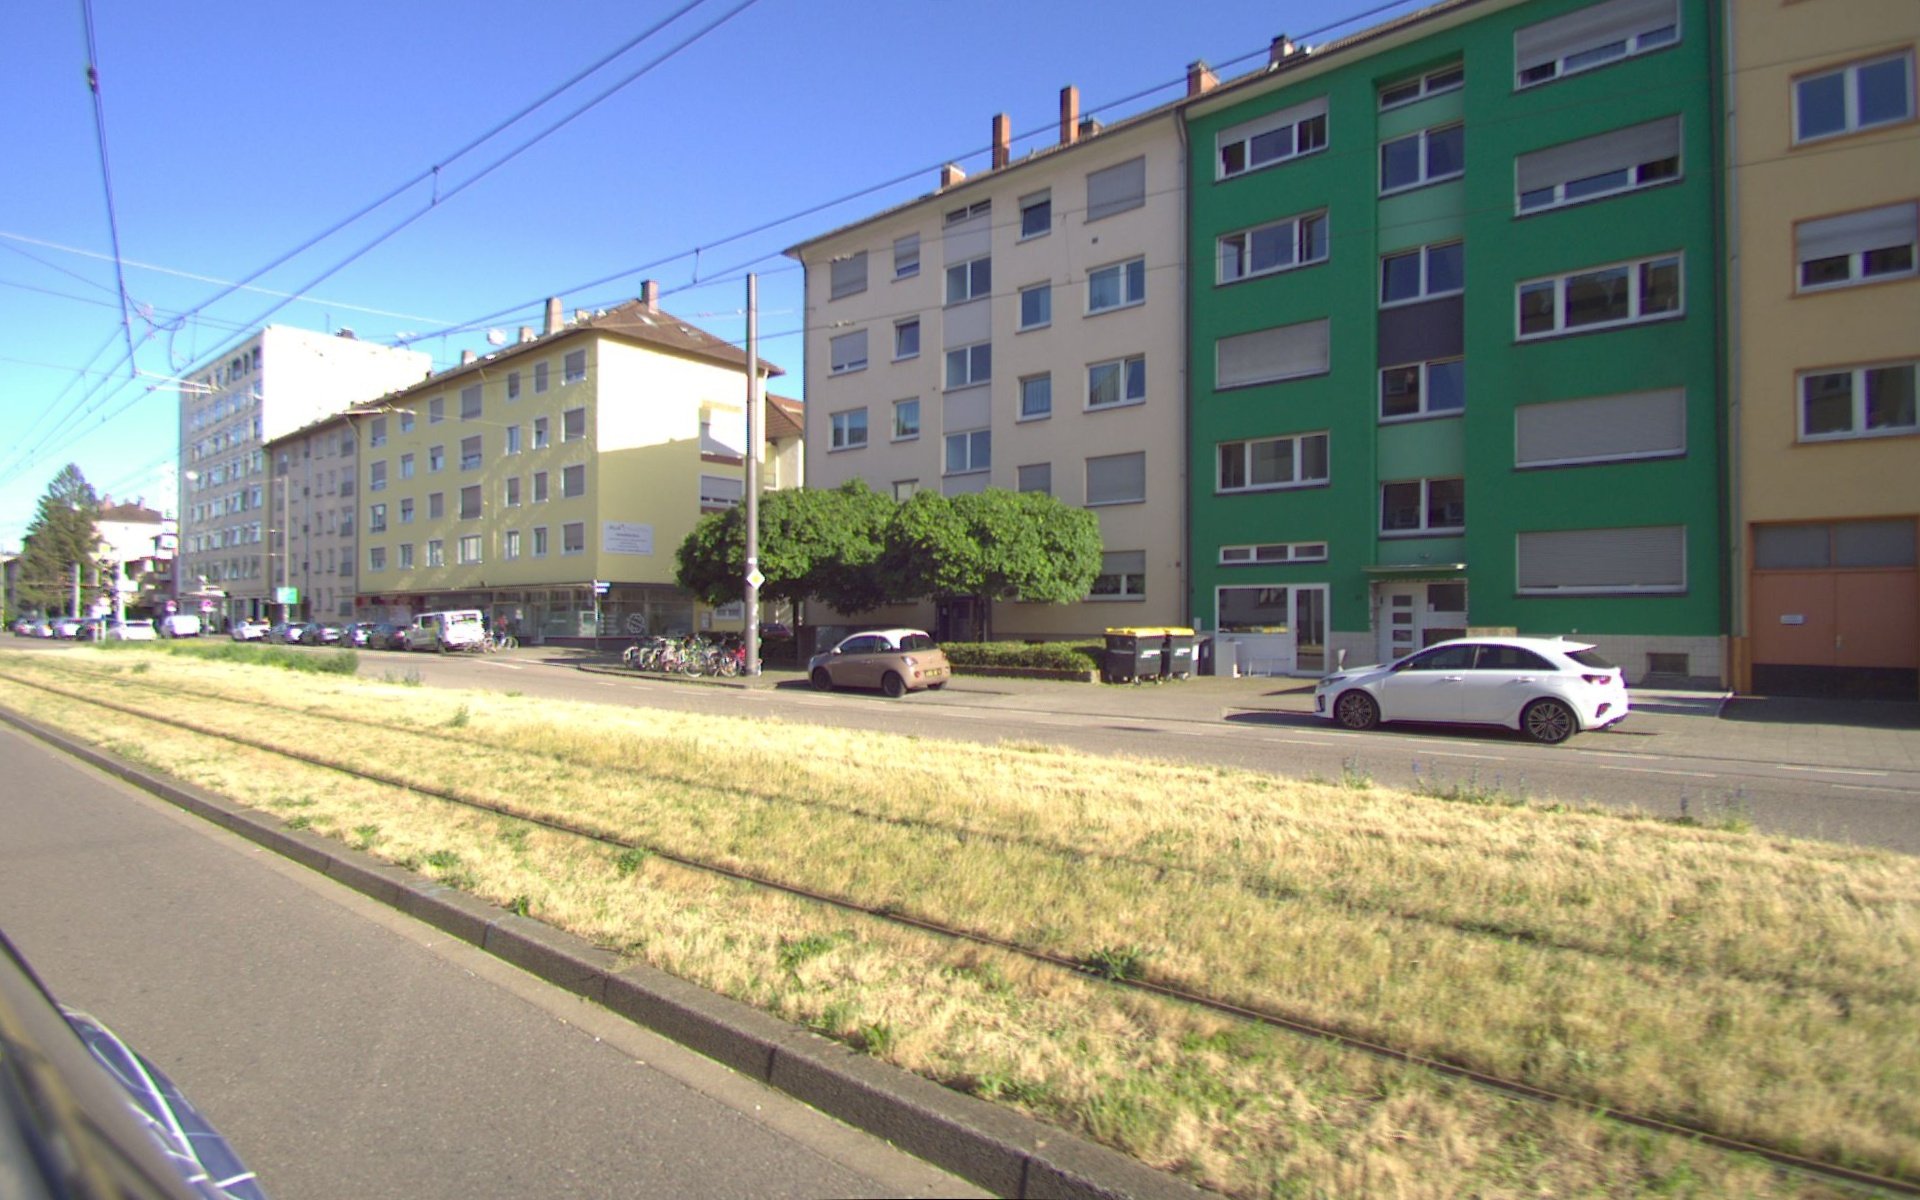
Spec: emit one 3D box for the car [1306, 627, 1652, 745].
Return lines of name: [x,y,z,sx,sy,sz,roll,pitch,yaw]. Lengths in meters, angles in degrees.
car: [7.712,1.177,15.300,4.373,1.465,1.711,-1,0,41]

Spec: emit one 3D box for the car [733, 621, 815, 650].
car: [-9.464,1.838,51.718,1.770,1.424,3.948,-1,-3,38]

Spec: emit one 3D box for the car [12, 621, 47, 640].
car: [-78.395,2.558,85.264,3.997,1.571,1.597,-1,-4,40]

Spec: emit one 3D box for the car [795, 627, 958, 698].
car: [-2.007,1.411,23.849,3.729,1.453,1.620,-1,1,39]

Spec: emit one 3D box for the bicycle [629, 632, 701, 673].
bicycle: [-8.958,1.570,30.754,2.024,1.101,0.616,-2,1,-44]

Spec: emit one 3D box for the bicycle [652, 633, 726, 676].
bicycle: [-7.942,1.570,29.712,2.024,1.101,0.616,-2,1,-44]

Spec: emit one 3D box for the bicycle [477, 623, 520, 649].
bicycle: [-21.355,1.653,46.853,0.390,1.114,1.801,-1,1,41]

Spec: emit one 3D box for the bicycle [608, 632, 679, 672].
bicycle: [-9.903,1.626,31.729,2.024,1.101,0.616,-2,1,-44]

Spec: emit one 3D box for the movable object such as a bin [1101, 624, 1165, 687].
movable object such as a bin: [4.111,1.288,24.054,1.039,1.378,1.134,0,1,43]

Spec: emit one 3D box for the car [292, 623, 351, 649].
car: [-38.980,2.177,61.764,4.412,1.431,1.765,-1,1,40]

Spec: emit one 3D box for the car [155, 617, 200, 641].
car: [-66.259,2.424,85.665,4.664,1.912,1.974,-1,1,39]

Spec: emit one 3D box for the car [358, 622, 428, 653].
car: [-30.541,1.980,54.483,4.593,1.485,1.765,-1,1,40]

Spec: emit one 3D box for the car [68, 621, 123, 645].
car: [-57.485,2.205,67.277,4.405,1.540,1.767,-1,-3,36]

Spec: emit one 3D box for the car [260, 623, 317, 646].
car: [-43.337,2.208,65.272,4.410,1.395,1.766,-1,1,39]

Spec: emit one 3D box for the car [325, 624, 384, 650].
car: [-34.847,2.106,58.219,3.765,1.395,1.765,-1,1,40]

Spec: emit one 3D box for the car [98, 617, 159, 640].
car: [-52.135,1.814,63.424,4.404,1.395,1.818,-1,-3,35]

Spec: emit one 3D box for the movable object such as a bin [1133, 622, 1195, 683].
movable object such as a bin: [5.035,1.273,24.945,1.039,1.378,1.134,0,1,43]

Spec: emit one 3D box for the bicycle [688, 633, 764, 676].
bicycle: [-6.714,1.542,29.044,2.019,1.101,0.617,-2,1,-22]

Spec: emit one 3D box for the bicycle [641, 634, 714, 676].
bicycle: [-8.398,1.620,30.187,2.024,1.101,0.616,-2,1,-44]

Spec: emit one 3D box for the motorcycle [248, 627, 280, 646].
motorcycle: [-46.744,2.423,68.016,0.481,1.147,2.107,-2,1,7]

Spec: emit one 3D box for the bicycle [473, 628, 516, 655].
bicycle: [-21.659,1.925,47.146,0.390,1.114,1.801,-1,1,41]

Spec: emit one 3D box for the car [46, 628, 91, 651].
car: [-63.264,2.769,71.793,4.604,1.593,1.765,-1,-3,40]

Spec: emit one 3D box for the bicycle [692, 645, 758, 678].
bicycle: [-6.481,1.681,27.873,2.046,0.872,0.374,-1,1,29]

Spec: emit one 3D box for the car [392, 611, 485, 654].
car: [-26.271,1.601,50.934,5.492,1.964,1.975,-1,1,38]

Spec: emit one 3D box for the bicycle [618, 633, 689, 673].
bicycle: [-9.455,1.615,31.243,2.024,1.101,0.616,-2,1,-44]

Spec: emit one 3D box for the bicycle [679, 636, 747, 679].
bicycle: [-6.709,1.547,27.452,1.928,1.101,0.506,-1,1,29]

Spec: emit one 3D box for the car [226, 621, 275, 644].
car: [-49.664,2.250,70.824,4.197,1.497,1.741,-1,1,40]

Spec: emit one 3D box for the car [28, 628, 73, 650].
car: [-68.701,2.946,76.425,4.235,1.562,1.838,-1,-4,39]

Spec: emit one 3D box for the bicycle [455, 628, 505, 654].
bicycle: [-22.809,1.947,48.113,0.472,1.114,2.076,-1,1,41]
